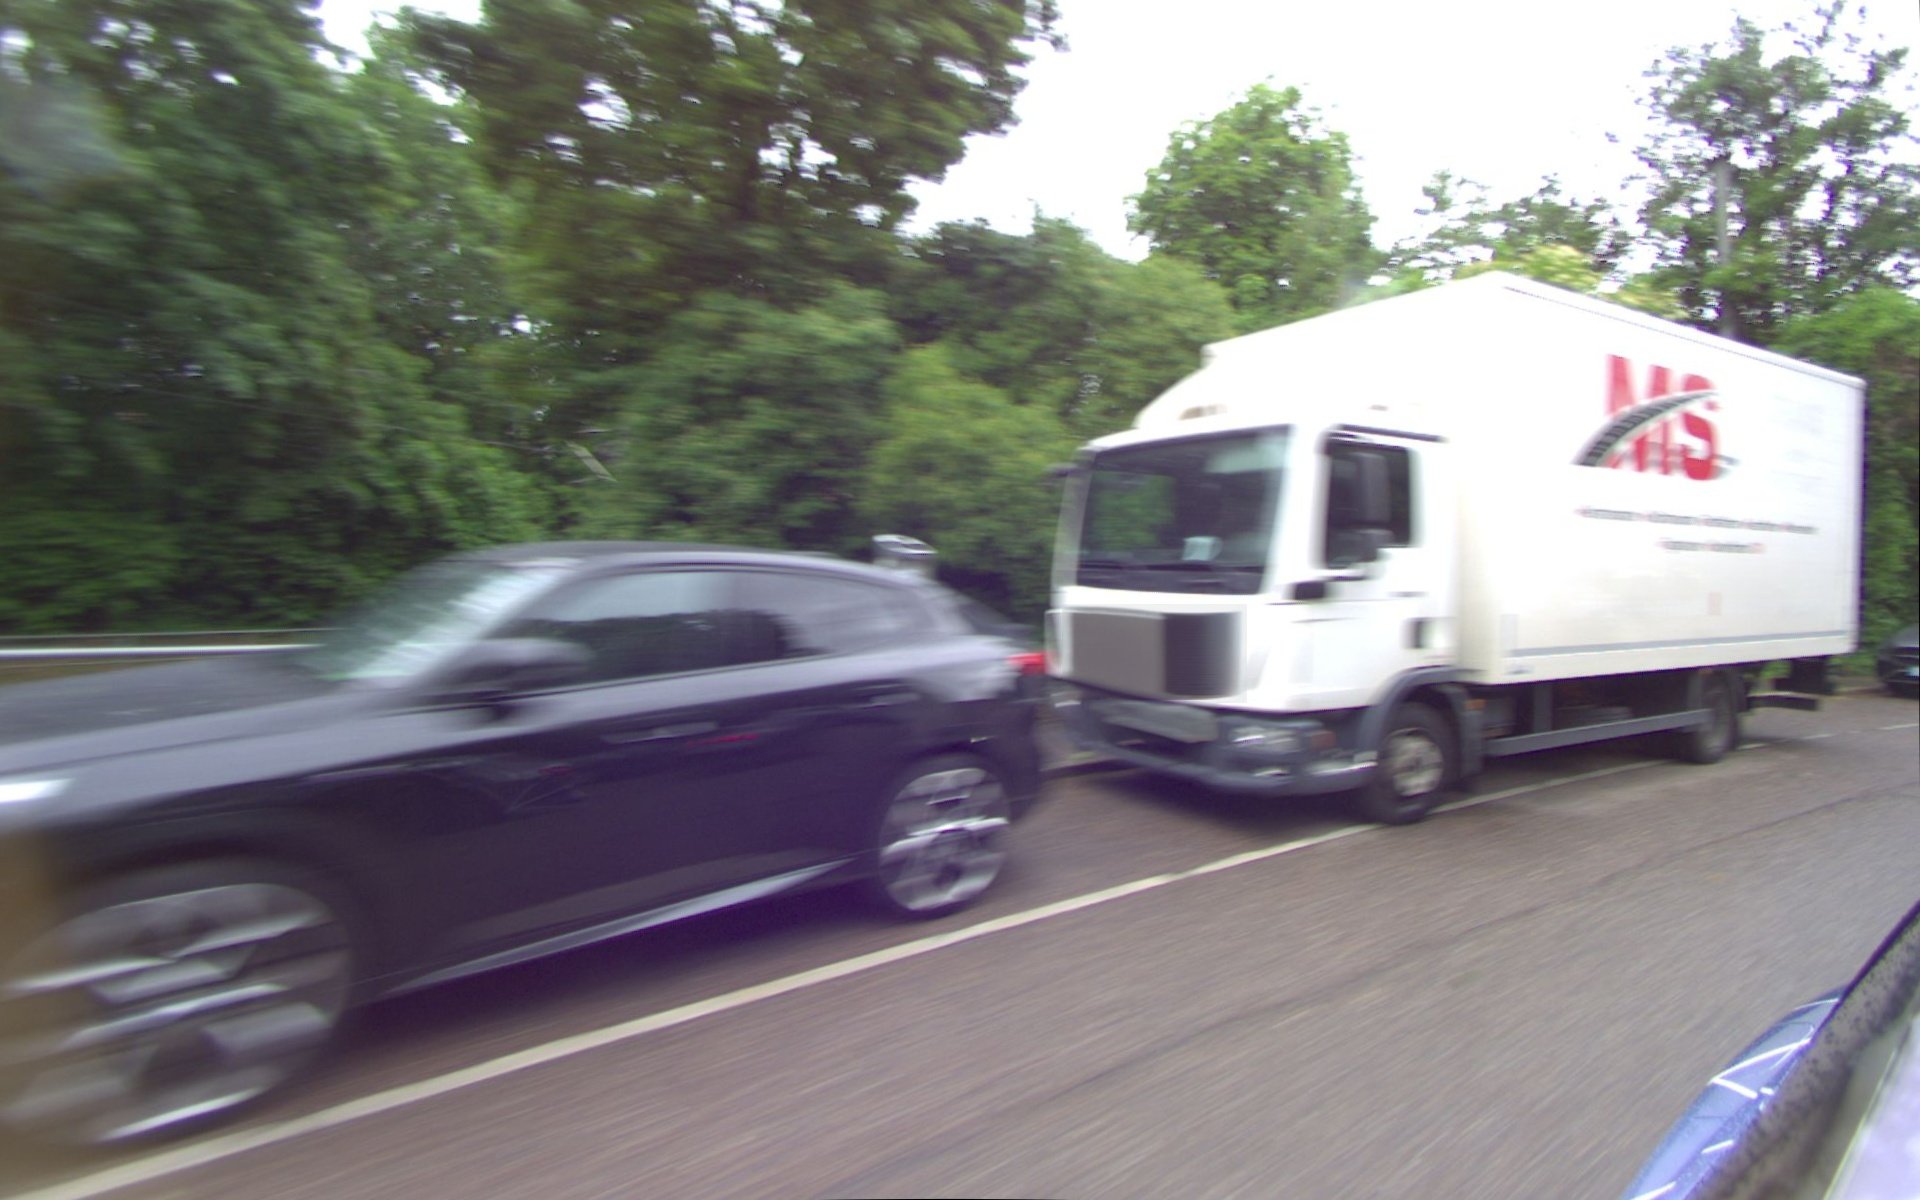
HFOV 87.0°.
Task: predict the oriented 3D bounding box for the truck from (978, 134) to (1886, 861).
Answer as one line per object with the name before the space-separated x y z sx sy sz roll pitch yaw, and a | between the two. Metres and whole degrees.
truck | 4.380 -0.551 8.515 8.173 3.619 3.019 0 0 -32

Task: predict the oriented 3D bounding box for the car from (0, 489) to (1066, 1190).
car | -1.614 0.496 3.963 4.205 1.575 1.720 -1 2 -44

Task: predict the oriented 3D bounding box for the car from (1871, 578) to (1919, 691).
car | 14.434 0.431 13.440 4.038 1.462 1.730 0 0 -19
